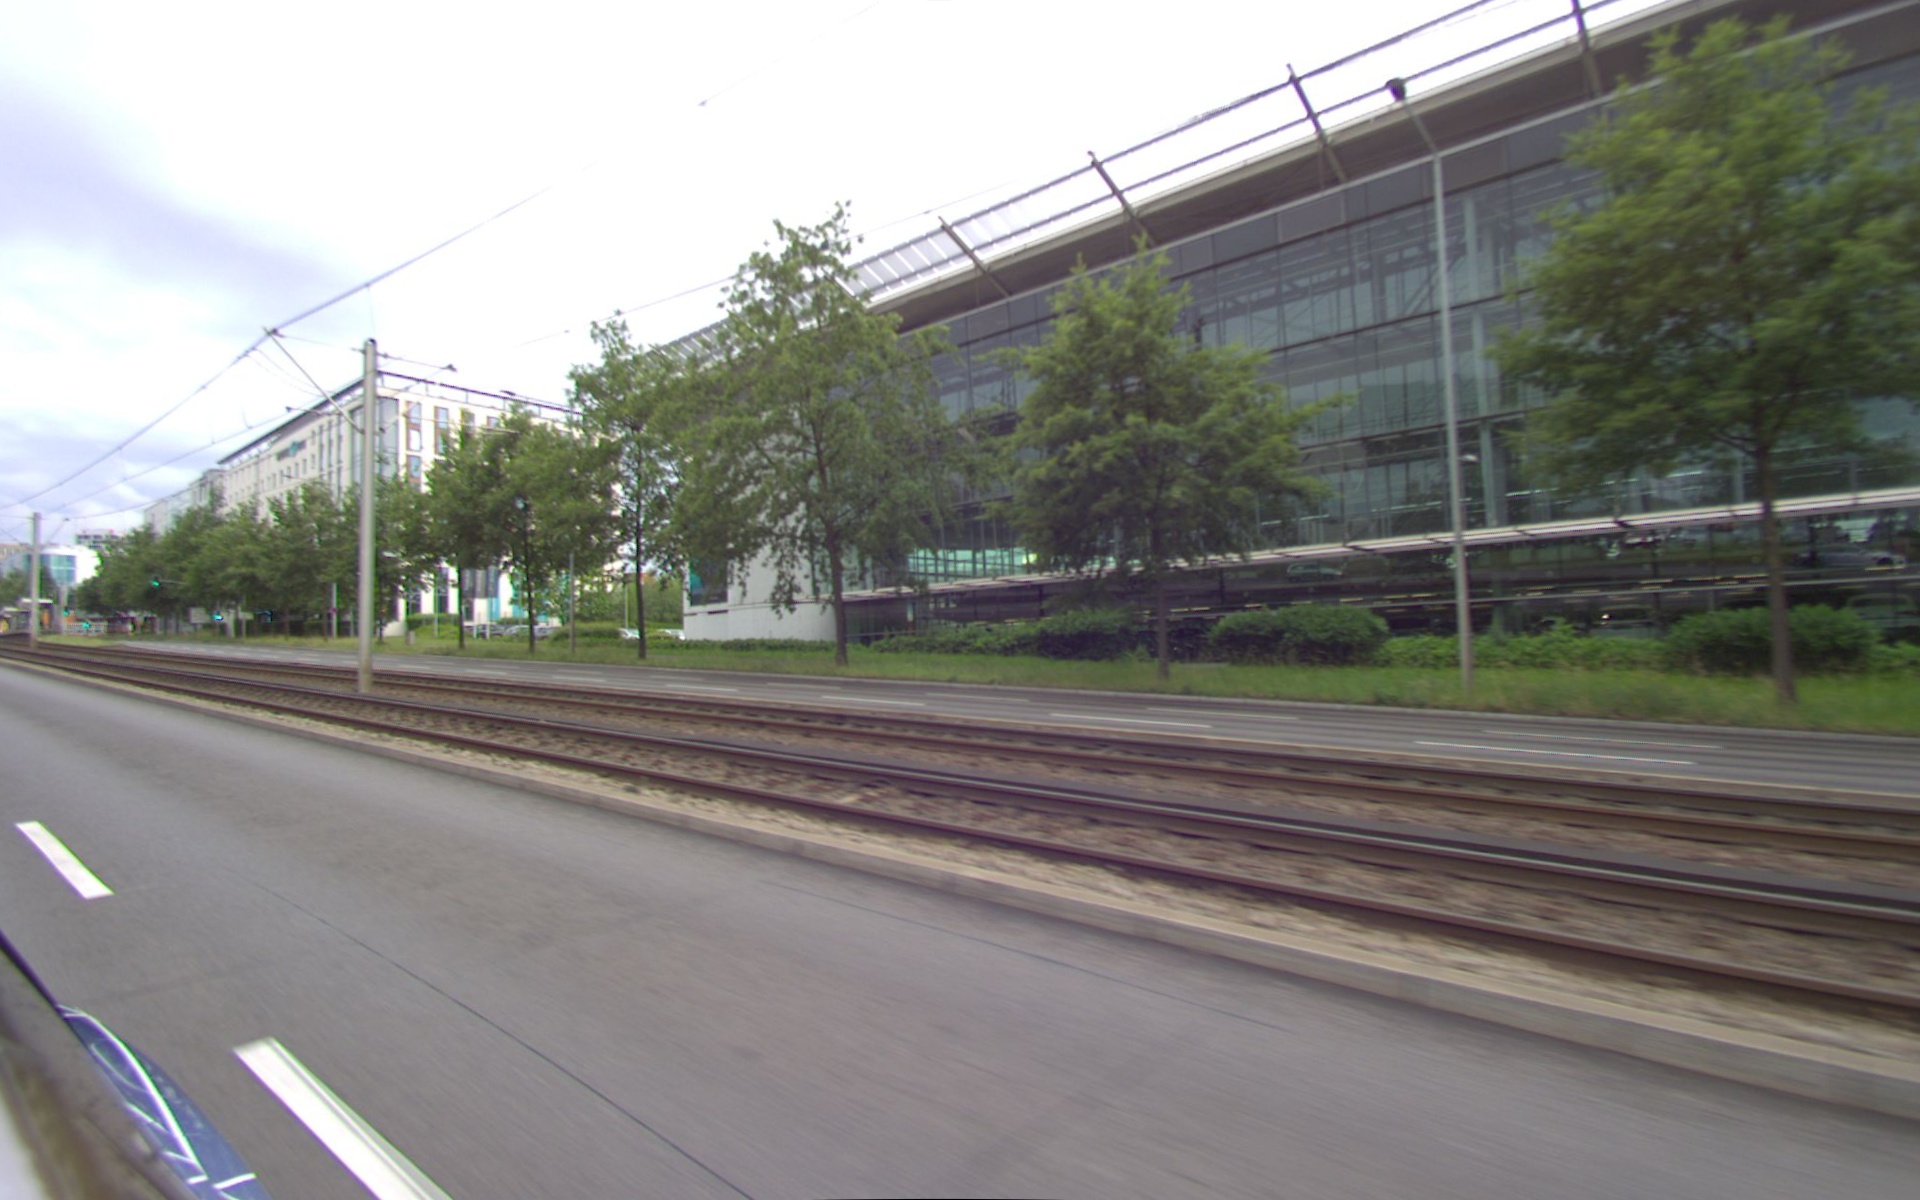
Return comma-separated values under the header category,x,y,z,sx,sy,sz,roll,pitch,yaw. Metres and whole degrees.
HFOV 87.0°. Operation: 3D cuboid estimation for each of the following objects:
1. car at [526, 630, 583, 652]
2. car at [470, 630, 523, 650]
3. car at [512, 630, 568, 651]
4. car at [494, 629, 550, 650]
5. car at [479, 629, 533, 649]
category,x,y,z,sx,sy,sz,roll,pitch,yaw
car,-30.284,3.040,75.627,3.931,1.401,1.809,-1,0,-22
car,-38.536,3.316,84.260,3.931,1.401,1.809,-1,0,-22
car,-32.077,3.065,77.369,3.931,1.401,1.809,-1,0,-22
car,-34.462,3.098,79.719,3.931,1.401,1.770,-1,0,-22
car,-36.619,3.128,81.697,3.931,1.401,1.809,-1,0,-22
